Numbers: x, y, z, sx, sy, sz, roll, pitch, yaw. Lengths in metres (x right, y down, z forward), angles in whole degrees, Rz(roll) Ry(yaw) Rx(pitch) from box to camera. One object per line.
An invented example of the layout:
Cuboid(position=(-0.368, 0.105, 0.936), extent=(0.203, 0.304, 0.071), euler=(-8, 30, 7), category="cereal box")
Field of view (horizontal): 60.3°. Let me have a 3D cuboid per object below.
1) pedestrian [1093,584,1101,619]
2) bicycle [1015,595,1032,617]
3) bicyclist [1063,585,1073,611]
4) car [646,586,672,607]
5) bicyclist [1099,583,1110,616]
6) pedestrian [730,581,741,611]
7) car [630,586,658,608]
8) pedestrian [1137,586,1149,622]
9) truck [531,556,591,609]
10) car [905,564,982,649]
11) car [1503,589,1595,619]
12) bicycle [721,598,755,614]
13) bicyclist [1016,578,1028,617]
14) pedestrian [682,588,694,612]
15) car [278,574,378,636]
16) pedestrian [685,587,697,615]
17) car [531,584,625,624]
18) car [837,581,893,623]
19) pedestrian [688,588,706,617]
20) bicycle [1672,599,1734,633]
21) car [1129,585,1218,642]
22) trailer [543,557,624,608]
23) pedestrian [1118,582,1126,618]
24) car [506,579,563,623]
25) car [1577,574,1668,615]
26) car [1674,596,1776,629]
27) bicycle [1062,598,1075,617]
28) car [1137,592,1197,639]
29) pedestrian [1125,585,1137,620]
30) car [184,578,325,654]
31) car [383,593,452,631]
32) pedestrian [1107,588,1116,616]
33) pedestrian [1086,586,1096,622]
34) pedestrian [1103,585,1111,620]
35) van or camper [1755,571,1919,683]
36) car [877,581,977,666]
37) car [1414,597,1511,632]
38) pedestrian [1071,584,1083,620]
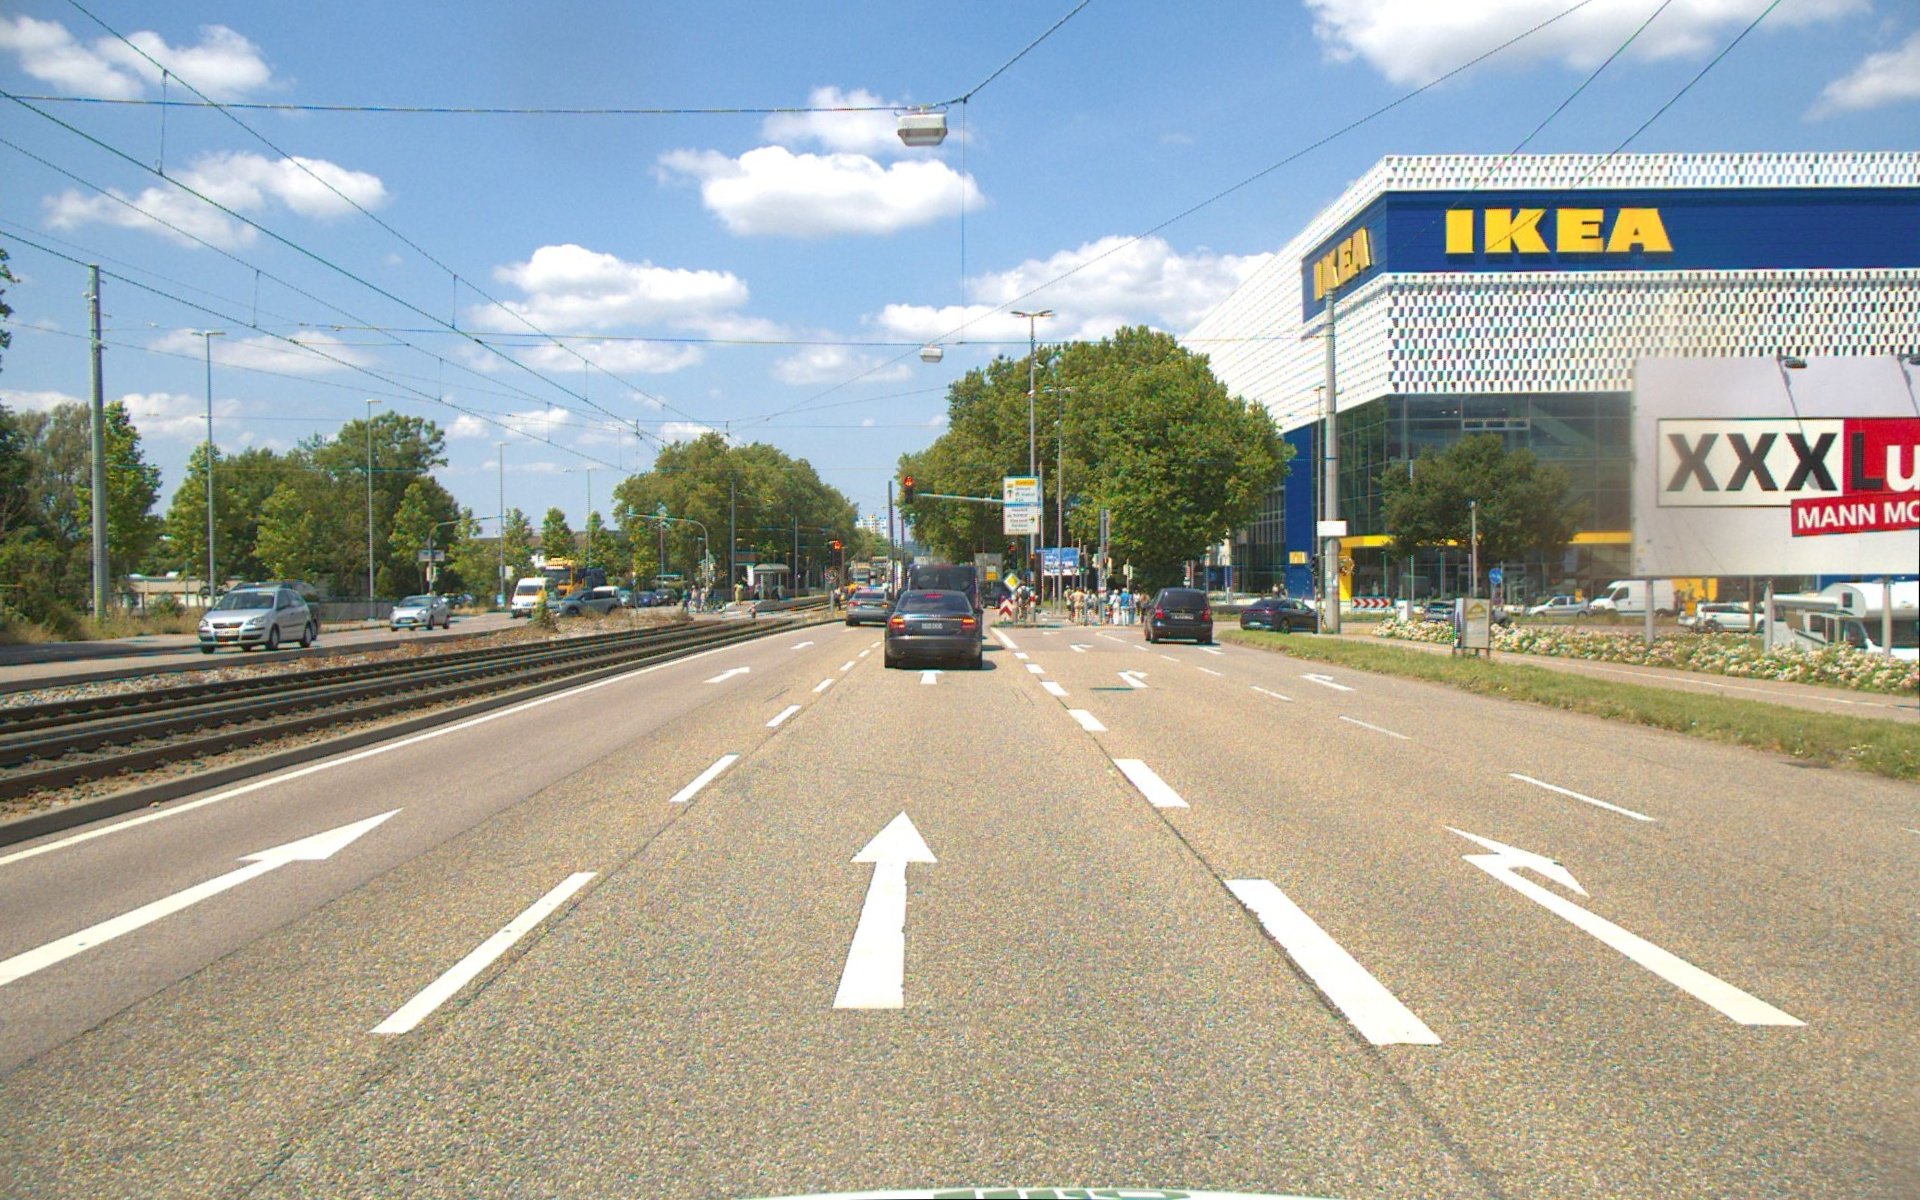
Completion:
Cuboid(position=(6.547, 0.074, 78.989), extent=(0.373, 1.663, 0.377), euler=(1, 0, 2), category="pedestrian")
Cuboid(position=(2.946, 0.269, 77.315), extent=(0.673, 1.011, 2.751), euler=(1, 0, 0), category="bicycle")
Cuboid(position=(5.156, -0.110, 78.819), extent=(0.461, 1.214, 0.791), euler=(0, 0, 2), category="bicyclist")
Cuboid(position=(-27.854, -0.308, 153.089), extent=(1.781, 1.916, 3.999), euler=(1, 0, -1), category="car")
Cuboid(position=(7.769, -0.038, 88.938), extent=(0.517, 1.795, 0.828), euler=(0, 0, 13), category="bicyclist")
Cuboid(position=(-14.955, -0.268, 110.149), extent=(0.672, 2.049, 0.572), euler=(0, 0, -5), category="pedestrian")
Cuboid(position=(-27.844, -0.286, 145.889), extent=(1.781, 1.916, 3.999), euler=(1, 0, -1), category="car")
Cuboid(position=(8.712, 0.195, 78.918), extent=(0.510, 1.699, 0.494), euler=(1, 0, 2), category="pedestrian")
Cuboid(position=(-28.277, -1.234, 117.392), extent=(2.711, 3.631, 6.439), euler=(1, 0, -1), category="truck")
Cuboid(position=(-0.415, 0.127, 40.967), extent=(1.799, 1.984, 3.999), euler=(0, 1, -1), category="car")
Cuboid(position=(32.545, 0.229, 91.454), extent=(4.403, 1.512, 2.001), euler=(2, 1, 3), category="car")
Cuboid(position=(-13.453, 0.359, 100.111), extent=(2.019, 0.941, 0.751), euler=(1, 0, -11), category="bicycle")
Cuboid(position=(2.870, -0.110, 77.008), extent=(0.518, 1.820, 1.088), euler=(0, 0, 0), category="bicyclist")
Cuboid(position=(-16.535, 0.005, 100.505), extent=(0.671, 1.468, 0.572), euler=(0, 0, -4), category="pedestrian")
Cuboid(position=(-20.667, 0.135, 54.266), extent=(1.957, 1.862, 4.960), euler=(-2, 1, -8), category="car")
Cuboid(position=(-16.206, 0.039, 99.587), extent=(0.671, 1.666, 0.572), euler=(0, 0, -4), category="pedestrian")
Cuboid(position=(-19.575, 0.193, 84.854), extent=(1.965, 1.951, 4.384), euler=(2, 1, 42), category="car")
Cuboid(position=(-3.660, 0.055, 64.191), extent=(1.953, 1.512, 4.000), euler=(2, 1, -1), category="car")
Cuboid(position=(-16.369, 0.149, 103.115), extent=(0.806, 1.750, 0.775), euler=(1, 0, 21), category="pedestrian")
Cuboid(position=(34.069, 0.728, 75.851), extent=(2.372, 1.507, 0.989), euler=(1, 0, 4), category="bicycle")
Cuboid(position=(6.085, 0.353, 47.526), extent=(1.953, 1.512, 4.000), euler=(2, 1, -1), category="car")
Cuboid(position=(-28.395, -1.299, 125.676), extent=(2.711, 3.580, 15.875), euler=(1, 0, -1), category="trailer")
Cuboid(position=(7.522, 0.016, 76.834), extent=(0.314, 1.663, 0.377), euler=(1, 0, 2), category="pedestrian")
Cuboid(position=(-27.738, 0.032, 108.103), extent=(2.198, 2.634, 6.233), euler=(-2, 1, -2), category="car")
Cuboid(position=(39.349, -0.333, 98.355), extent=(4.659, 2.349, 2.001), euler=(1, 0, 5), category="car")
Cuboid(position=(38.607, 0.624, 83.603), extent=(4.282, 1.512, 2.002), euler=(2, 1, 11), category="car")
Cuboid(position=(5.168, 0.364, 78.769), extent=(0.538, 0.892, 1.698), euler=(1, 0, 2), category="bicycle")
Cuboid(position=(7.176, 0.514, 57.383), extent=(1.951, 1.512, 4.170), euler=(2, 1, 7), category="car")
Cuboid(position=(8.160, 0.096, 78.908), extent=(0.493, 1.663, 0.449), euler=(1, 0, 2), category="pedestrian")
Cuboid(position=(-16.638, 0.338, 39.232), extent=(1.651, 1.611, 4.057), euler=(-3, 1, -2), category="car")
Cuboid(position=(-22.728, 0.474, 69.433), extent=(1.786, 1.440, 3.881), euler=(-2, 0, -4), category="car")
Cuboid(position=(7.037, 0.095, 76.896), extent=(0.365, 1.326, 0.365), euler=(1, 0, 2), category="pedestrian")
Cuboid(position=(6.089, 0.192, 76.784), extent=(0.435, 1.663, 0.430), euler=(1, 0, 2), category="pedestrian")
Cuboid(position=(6.998, 0.098, 78.890), extent=(0.332, 1.663, 0.377), euler=(1, 0, 2), category="pedestrian")
Cuboid(position=(26.488, 0.714, 49.247), extent=(2.454, 3.073, 7.226), euler=(1, 0, 3), category="van or camper")
Cuboid(position=(-0.605, 0.391, 31.367), extent=(1.756, 1.480, 4.000), euler=(-1, 1, -1), category="car")
Cuboid(position=(23.467, 0.676, 77.274), extent=(4.080, 1.512, 1.984), euler=(1, 1, -25), category="car")
Cuboid(position=(5.444, 0.080, 76.825), extent=(0.542, 1.663, 0.433), euler=(1, 0, 2), category="pedestrian")
